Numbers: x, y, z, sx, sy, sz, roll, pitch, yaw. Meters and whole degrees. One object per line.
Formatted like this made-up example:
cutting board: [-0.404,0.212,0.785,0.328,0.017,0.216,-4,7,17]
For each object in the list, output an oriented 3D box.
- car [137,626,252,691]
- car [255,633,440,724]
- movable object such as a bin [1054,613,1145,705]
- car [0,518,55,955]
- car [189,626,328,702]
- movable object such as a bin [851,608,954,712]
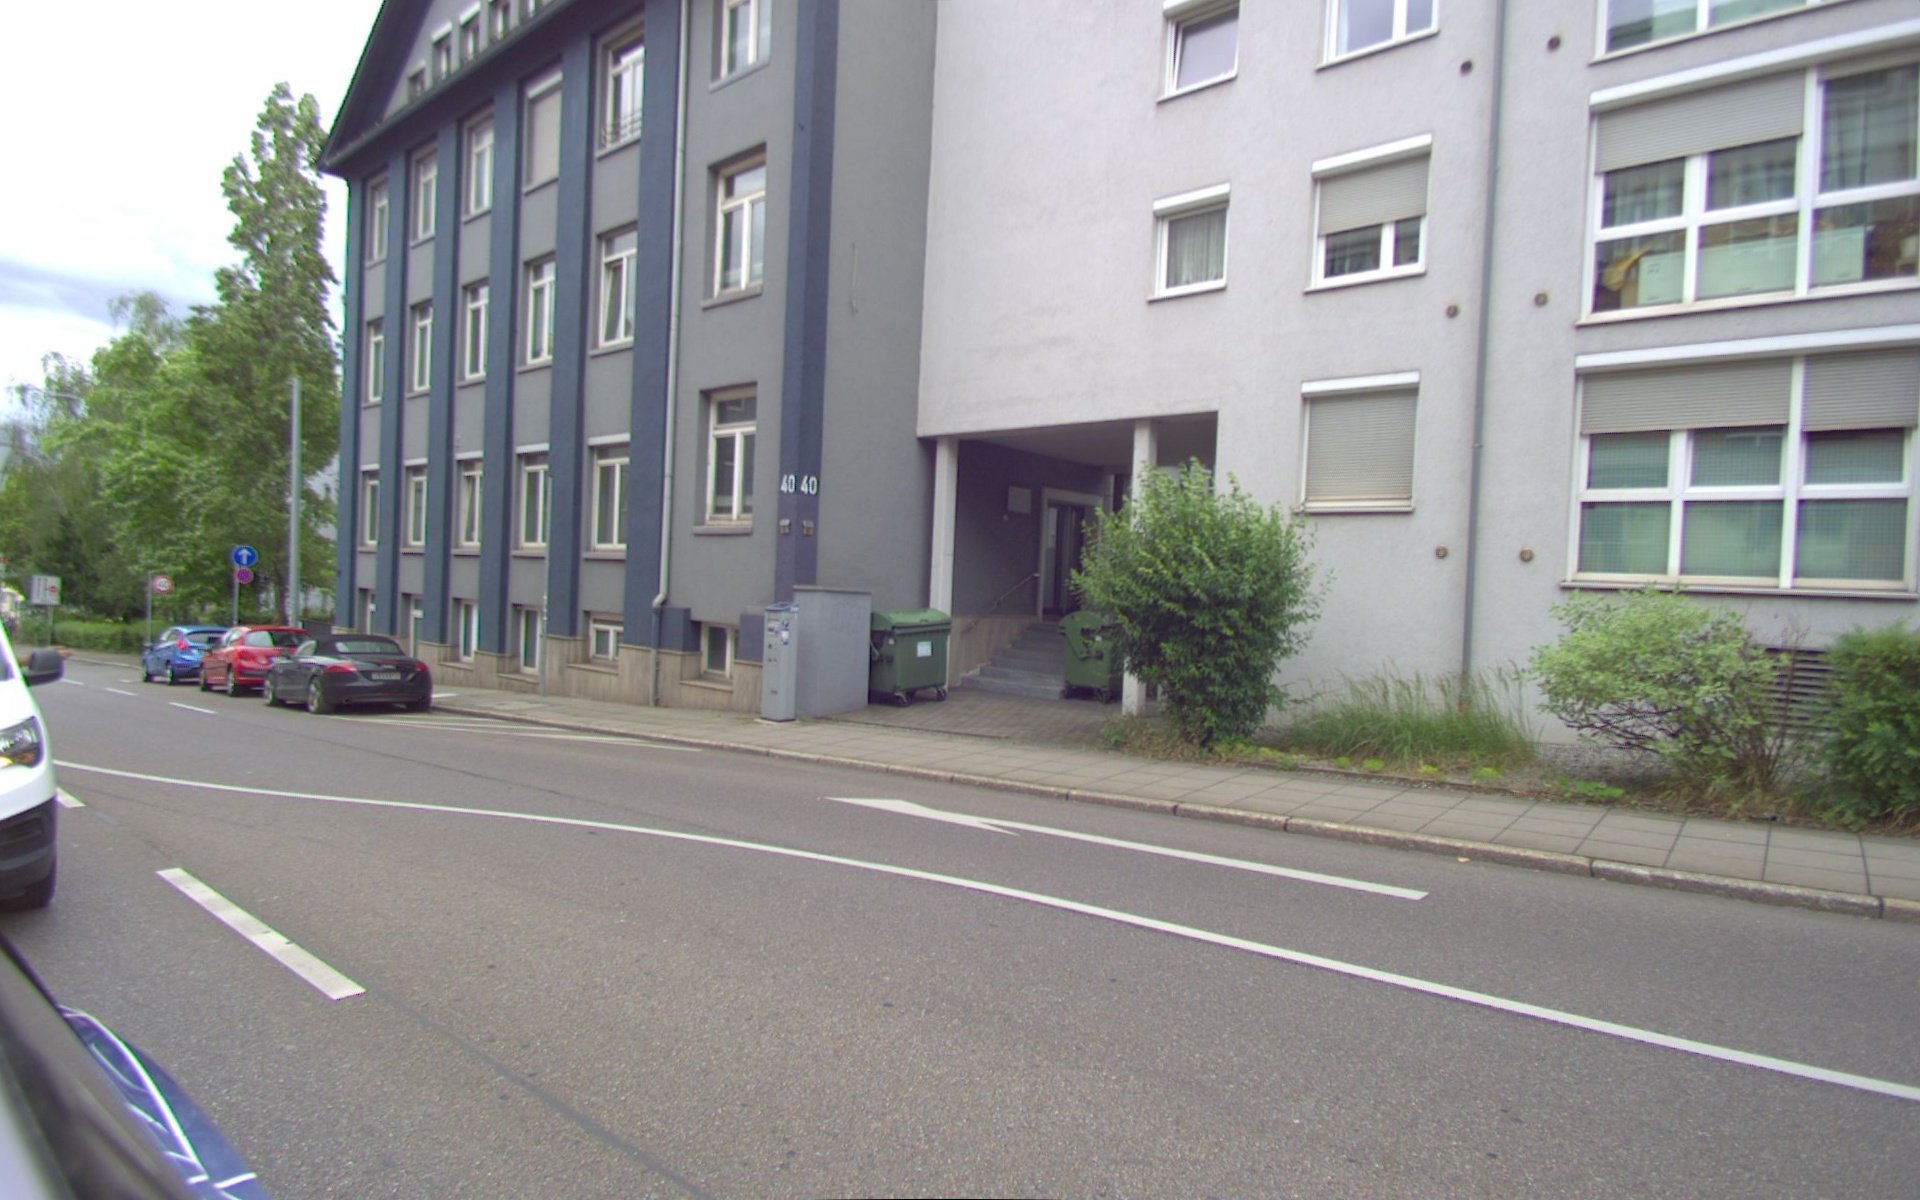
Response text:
car: [-19.448,1.423,25.670,3.727,1.460,1.623,-1,0,41]
car: [-10.997,1.310,18.079,3.727,1.403,1.778,-1,-2,41]
movable object such as a bin: [2.287,0.930,16.553,1.078,1.427,1.026,-1,0,41]
car: [-6.116,0.617,5.200,3.998,1.901,1.716,-1,0,41]
car: [-15.328,1.321,22.051,3.727,1.460,1.623,-1,0,41]
movable object such as a bin: [-0.889,0.895,15.734,1.039,1.518,1.213,-1,0,41]
